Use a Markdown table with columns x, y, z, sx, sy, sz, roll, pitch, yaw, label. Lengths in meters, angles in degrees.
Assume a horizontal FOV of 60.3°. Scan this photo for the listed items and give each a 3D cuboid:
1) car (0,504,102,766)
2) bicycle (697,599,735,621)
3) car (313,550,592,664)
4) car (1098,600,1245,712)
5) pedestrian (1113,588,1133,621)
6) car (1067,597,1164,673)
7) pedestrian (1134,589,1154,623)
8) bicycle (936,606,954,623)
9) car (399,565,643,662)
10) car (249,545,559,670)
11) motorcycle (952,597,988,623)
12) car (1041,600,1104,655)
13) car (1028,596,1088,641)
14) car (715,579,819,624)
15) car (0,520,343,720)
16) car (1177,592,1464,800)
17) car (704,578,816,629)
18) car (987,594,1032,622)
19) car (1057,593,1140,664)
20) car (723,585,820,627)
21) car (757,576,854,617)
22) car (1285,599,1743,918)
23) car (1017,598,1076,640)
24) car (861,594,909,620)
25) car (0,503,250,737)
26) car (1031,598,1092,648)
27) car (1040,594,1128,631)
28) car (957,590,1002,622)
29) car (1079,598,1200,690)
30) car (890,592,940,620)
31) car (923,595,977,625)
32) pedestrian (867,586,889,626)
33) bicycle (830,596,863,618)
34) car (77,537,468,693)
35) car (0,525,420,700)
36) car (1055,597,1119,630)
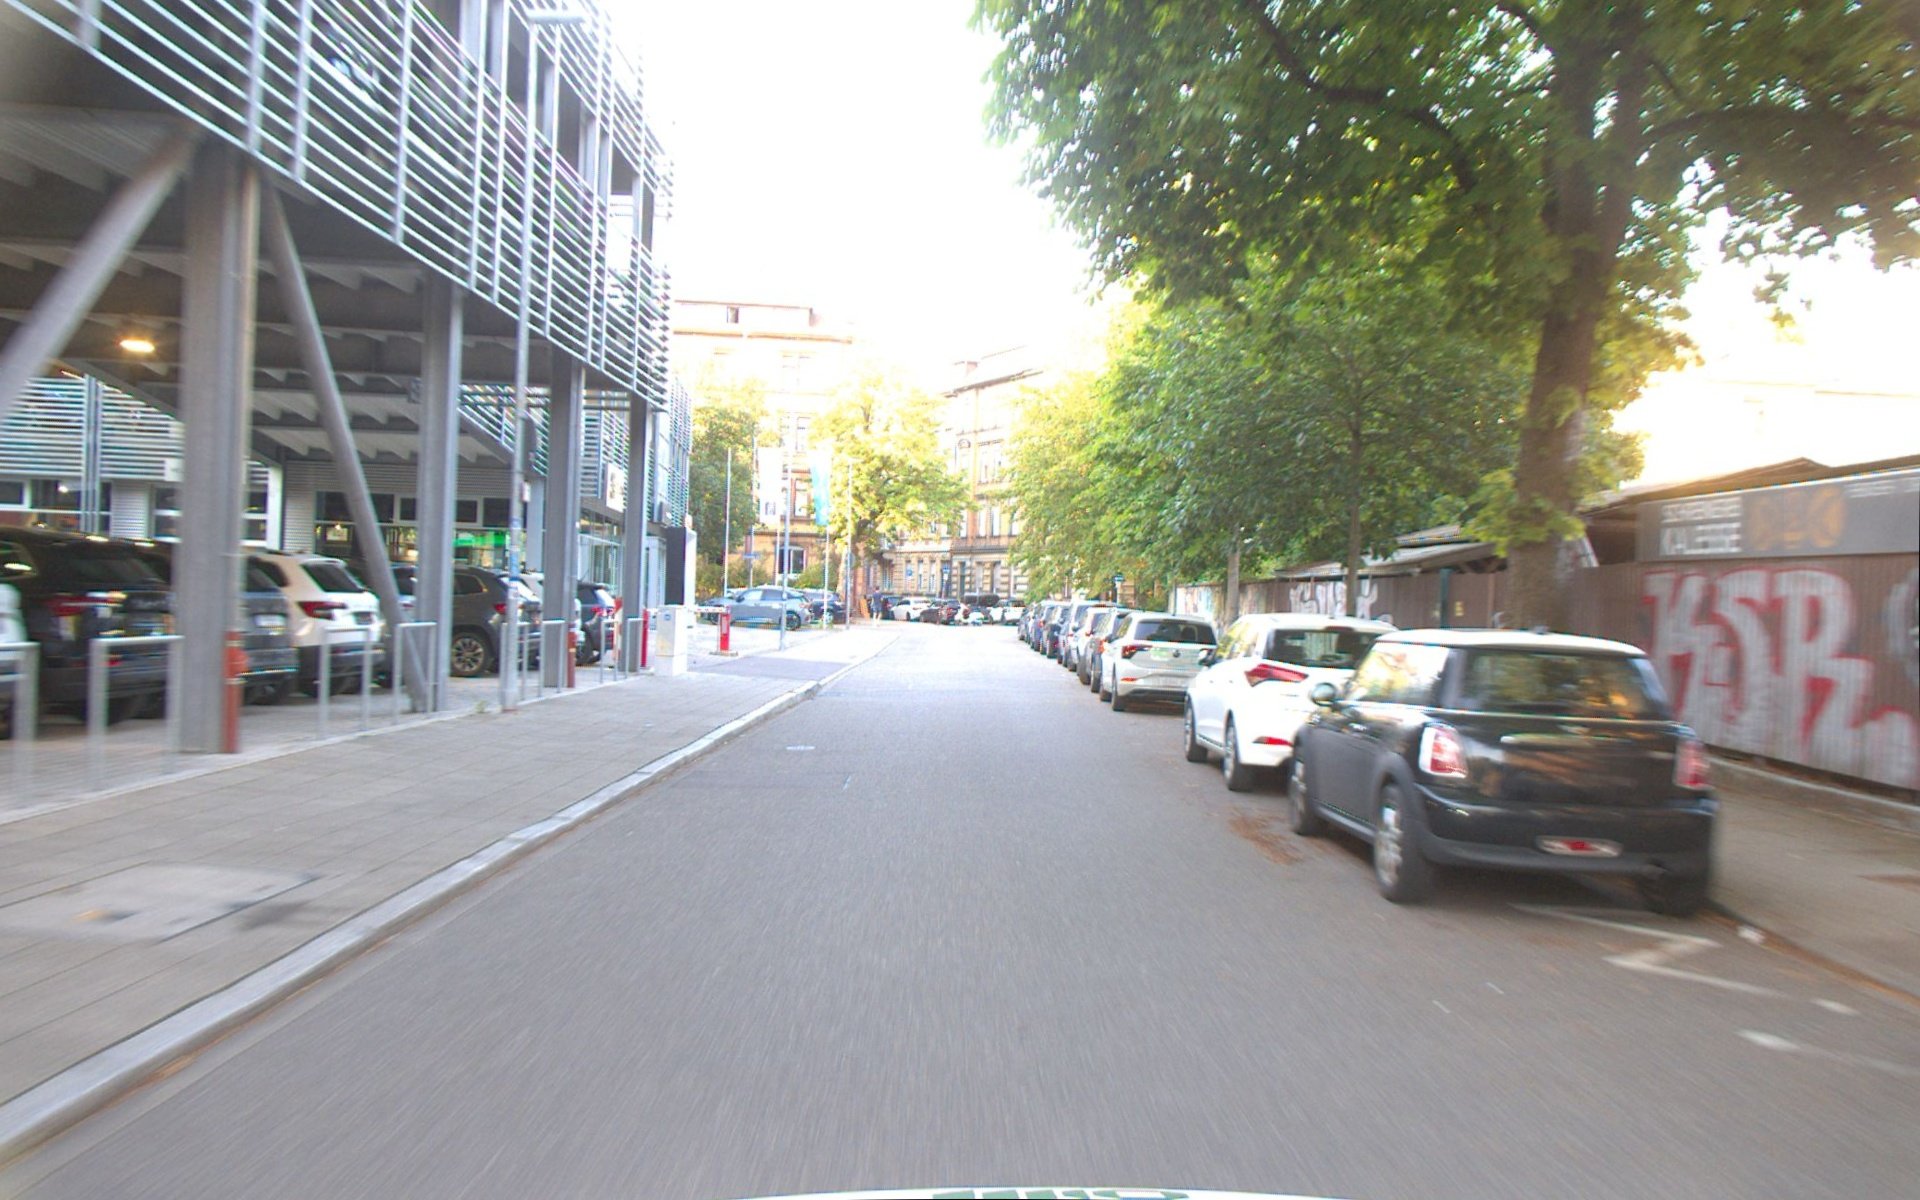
| x | y | z | sx | sy | sz | roll | pitch | yaw | label |
| --- | --- | --- | --- | --- | --- | --- | --- | --- | --- |
| -8.245 | 0.169 | 11.069 | 3.999 | 1.713 | 1.860 | 2 | 1 | 1 | car |
| -12.193 | 0.486 | 82.617 | 1.831 | 1.046 | 0.442 | 1 | 1 | -24 | bicycle |
| -8.350 | 0.092 | 27.459 | 3.995 | 1.713 | 1.860 | 2 | 1 | 1 | car |
| 3.170 | 0.797 | 25.455 | 1.723 | 1.467 | 4.006 | 2 | 1 | 0 | car |
| 9.226 | 0.277 | 93.537 | 0.828 | 1.835 | 0.771 | 1 | 1 | -20 | pedestrian |
| 3.365 | 0.735 | 36.381 | 1.723 | 1.467 | 3.874 | 2 | 1 | 0 | car |
| 10.156 | 0.346 | 91.301 | 0.760 | 1.835 | 0.840 | 1 | 1 | -15 | pedestrian |
| -0.797 | 0.776 | 88.527 | 0.416 | 0.836 | 1.462 | 2 | 1 | 22 | bicycle |
| -7.916 | 0.259 | 30.086 | 3.906 | 1.613 | 1.859 | 2 | -2 | -2 | car |
| -8.332 | 0.096 | 25.031 | 4.003 | 1.713 | 1.860 | 2 | 1 | 1 | car |
| 0.540 | 0.525 | 90.641 | 1.896 | 1.364 | 0.576 | 1 | 1 | -11 | motorcycle |
| 3.271 | 0.764 | 48.477 | 1.564 | 1.502 | 3.773 | 2 | 0 | 0 | car |
| 3.407 | 0.623 | 57.931 | 1.661 | 1.502 | 3.557 | 2 | 0 | -3 | car |
| -7.746 | 0.043 | 66.733 | 3.985 | 1.646 | 1.765 | 2 | 1 | -2 | car |
| -8.233 | 0.139 | 15.679 | 4.018 | 1.713 | 1.860 | 2 | 1 | 1 | car |
| 3.115 | 0.750 | 15.098 | 1.687 | 1.546 | 4.025 | 2 | 1 | 0 | car |
| -7.681 | 0.125 | 63.726 | 4.047 | 1.646 | 1.913 | 4 | 1 | -2 | car |
| 2.937 | 0.453 | 98.954 | 1.653 | 1.552 | 2.747 | 2 | 1 | -24 | car |
| 3.426 | 0.679 | 41.477 | 1.723 | 1.632 | 3.873 | 2 | 0 | 0 | car |
| -8.090 | 0.255 | 71.098 | 3.966 | 1.501 | 1.919 | 4 | 1 | -4 | car |
| -7.714 | -0.182 | 82.567 | 4.736 | 1.762 | 1.918 | 2 | 1 | -6 | car |
| 3.077 | 0.782 | 9.892 | 1.531 | 1.475 | 3.453 | 2 | 1 | 0 | car |
| 3.213 | 0.687 | 62.338 | 1.662 | 1.502 | 4.209 | 2 | 0 | -4 | car |
| -4.686 | 0.419 | 102.814 | 1.633 | 1.455 | 3.868 | 2 | 1 | -24 | car |
| -8.140 | 0.091 | 13.300 | 4.018 | 1.713 | 1.860 | 2 | 1 | 1 | car |
| 3.225 | 0.698 | 53.184 | 1.660 | 1.502 | 4.117 | 2 | 0 | 0 | car |
| 5.589 | 0.572 | 74.184 | 1.849 | 1.492 | 3.945 | 3 | 1 | 43 | car |
| 1.202 | 0.348 | 102.472 | 1.653 | 1.813 | 2.993 | 2 | 1 | -24 | car |
| 3.226 | 0.744 | 30.444 | 1.723 | 1.480 | 4.392 | 2 | 1 | 0 | car |
| -2.687 | 0.341 | 98.279 | 1.631 | 1.455 | 4.140 | 2 | 1 | -22 | car |
| -0.615 | 0.556 | 93.984 | 1.632 | 1.455 | 3.962 | 2 | 1 | -23 | car |
| -3.868 | 0.276 | 77.950 | 0.724 | 1.835 | 1.115 | 1 | 1 | -20 | pedestrian |
| -5.848 | 0.363 | 85.216 | 1.650 | 1.046 | 0.442 | 1 | 1 | -24 | bicycle |
| -8.345 | 0.159 | 20.321 | 3.980 | 1.713 | 1.860 | 2 | 1 | 1 | car |
| -8.252 | 0.110 | 18.115 | 4.018 | 1.713 | 1.860 | 2 | 1 | 1 | car |
| 6.912 | 0.703 | 90.468 | 1.889 | 1.552 | 3.868 | 2 | 2 | -24 | car |
